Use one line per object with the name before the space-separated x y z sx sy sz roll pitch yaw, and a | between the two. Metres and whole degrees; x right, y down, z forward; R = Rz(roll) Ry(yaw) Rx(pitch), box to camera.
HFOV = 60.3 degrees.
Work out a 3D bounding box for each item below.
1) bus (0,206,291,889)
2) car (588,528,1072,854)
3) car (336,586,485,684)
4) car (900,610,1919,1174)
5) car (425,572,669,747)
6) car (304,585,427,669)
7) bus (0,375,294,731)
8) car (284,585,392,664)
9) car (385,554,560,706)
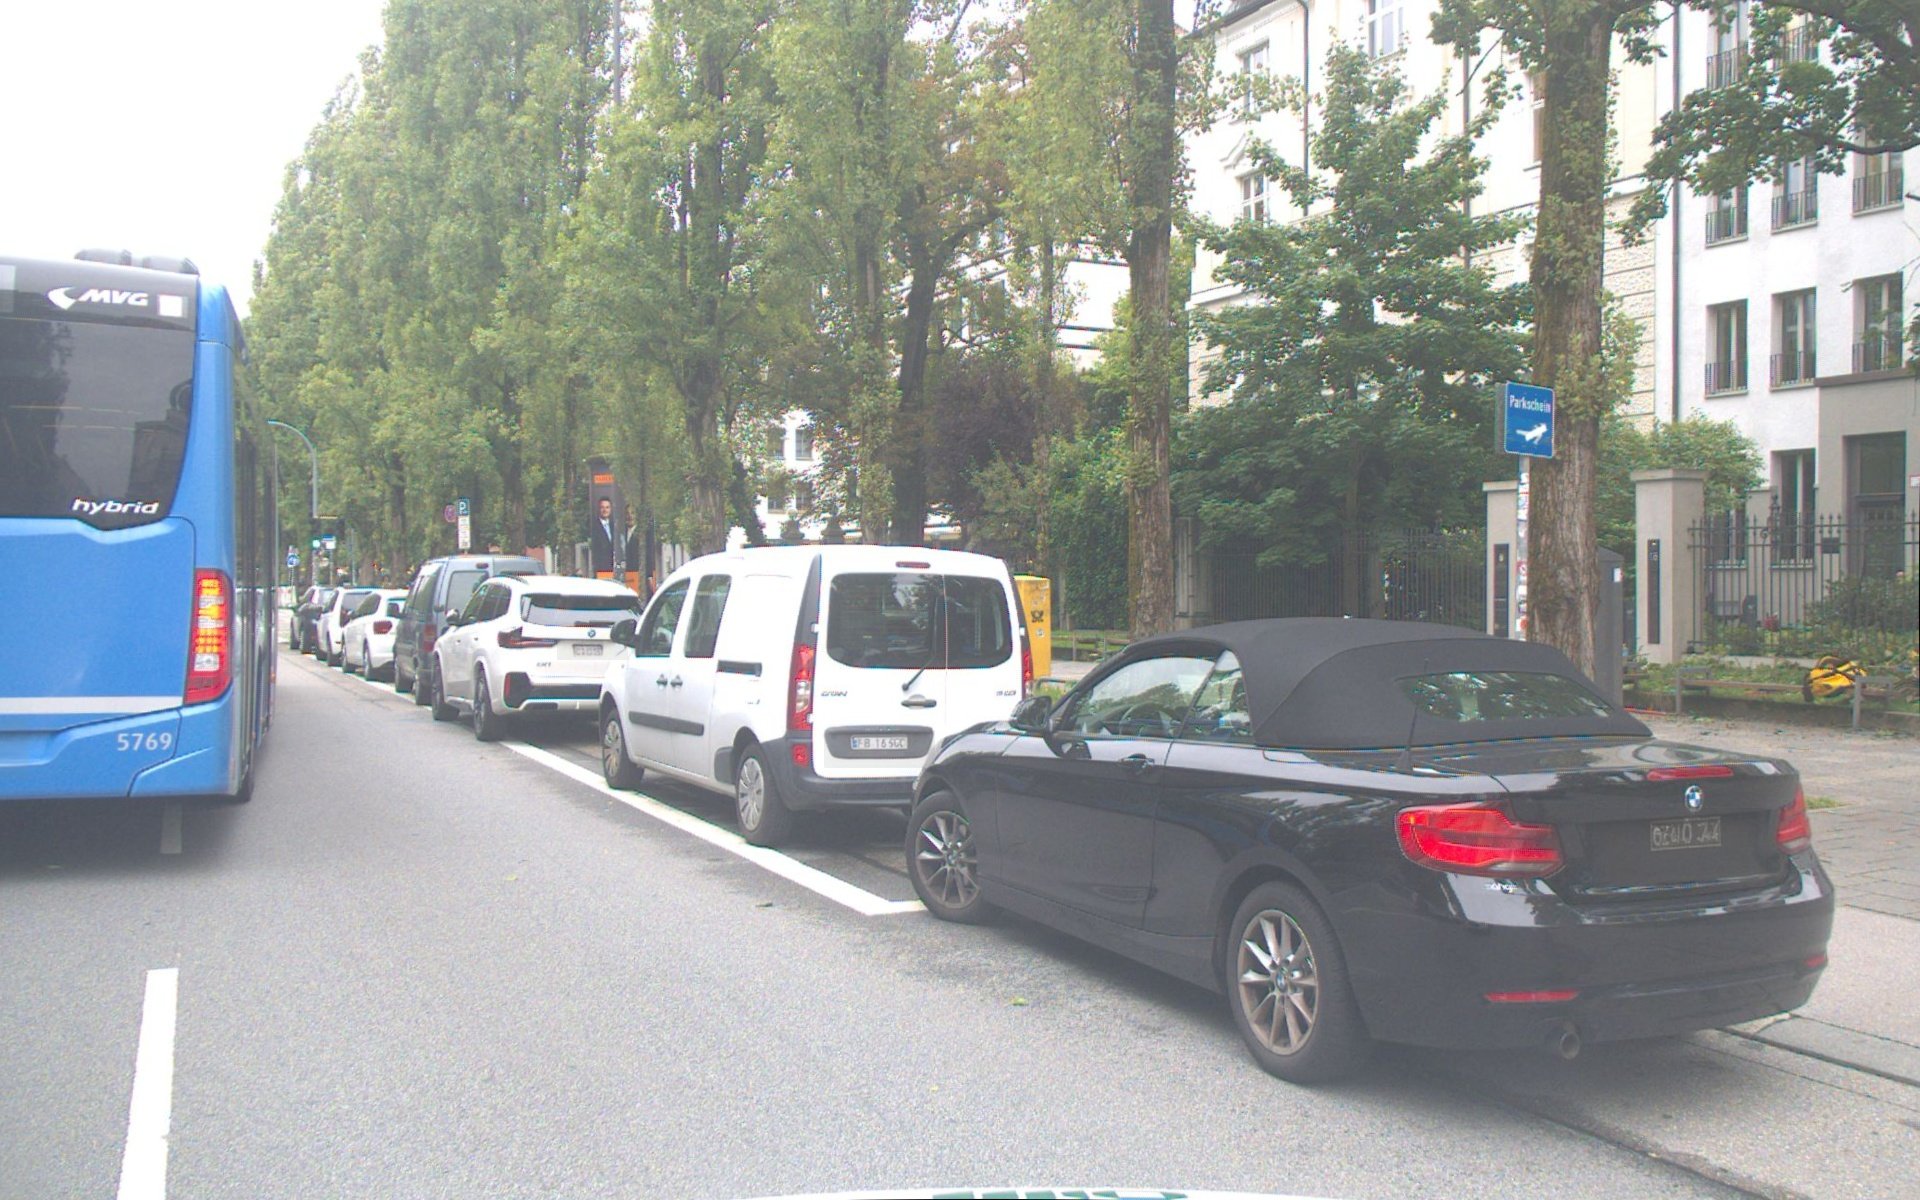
bus | -6.475 -0.303 12.008 2.815 3.269 9.002 0 1 -21
car | -1.110 0.510 11.463 1.812 1.804 4.191 2 0 -28
car | -9.379 0.535 28.034 1.778 1.501 3.963 -1 1 -28
car | 1.338 0.761 6.420 1.725 1.378 3.967 0 1 -26
car | -4.498 0.547 17.605 1.657 1.624 4.052 1 0 -27
car | -11.751 0.478 32.546 1.765 1.518 3.963 -1 1 -28
bus | -9.829 -0.495 20.562 2.832 3.361 9.724 0 1 -22
car | -14.011 0.496 37.139 1.788 1.646 3.963 -1 1 -28
car | -6.686 0.360 22.433 1.682 1.868 3.968 1 0 -25
